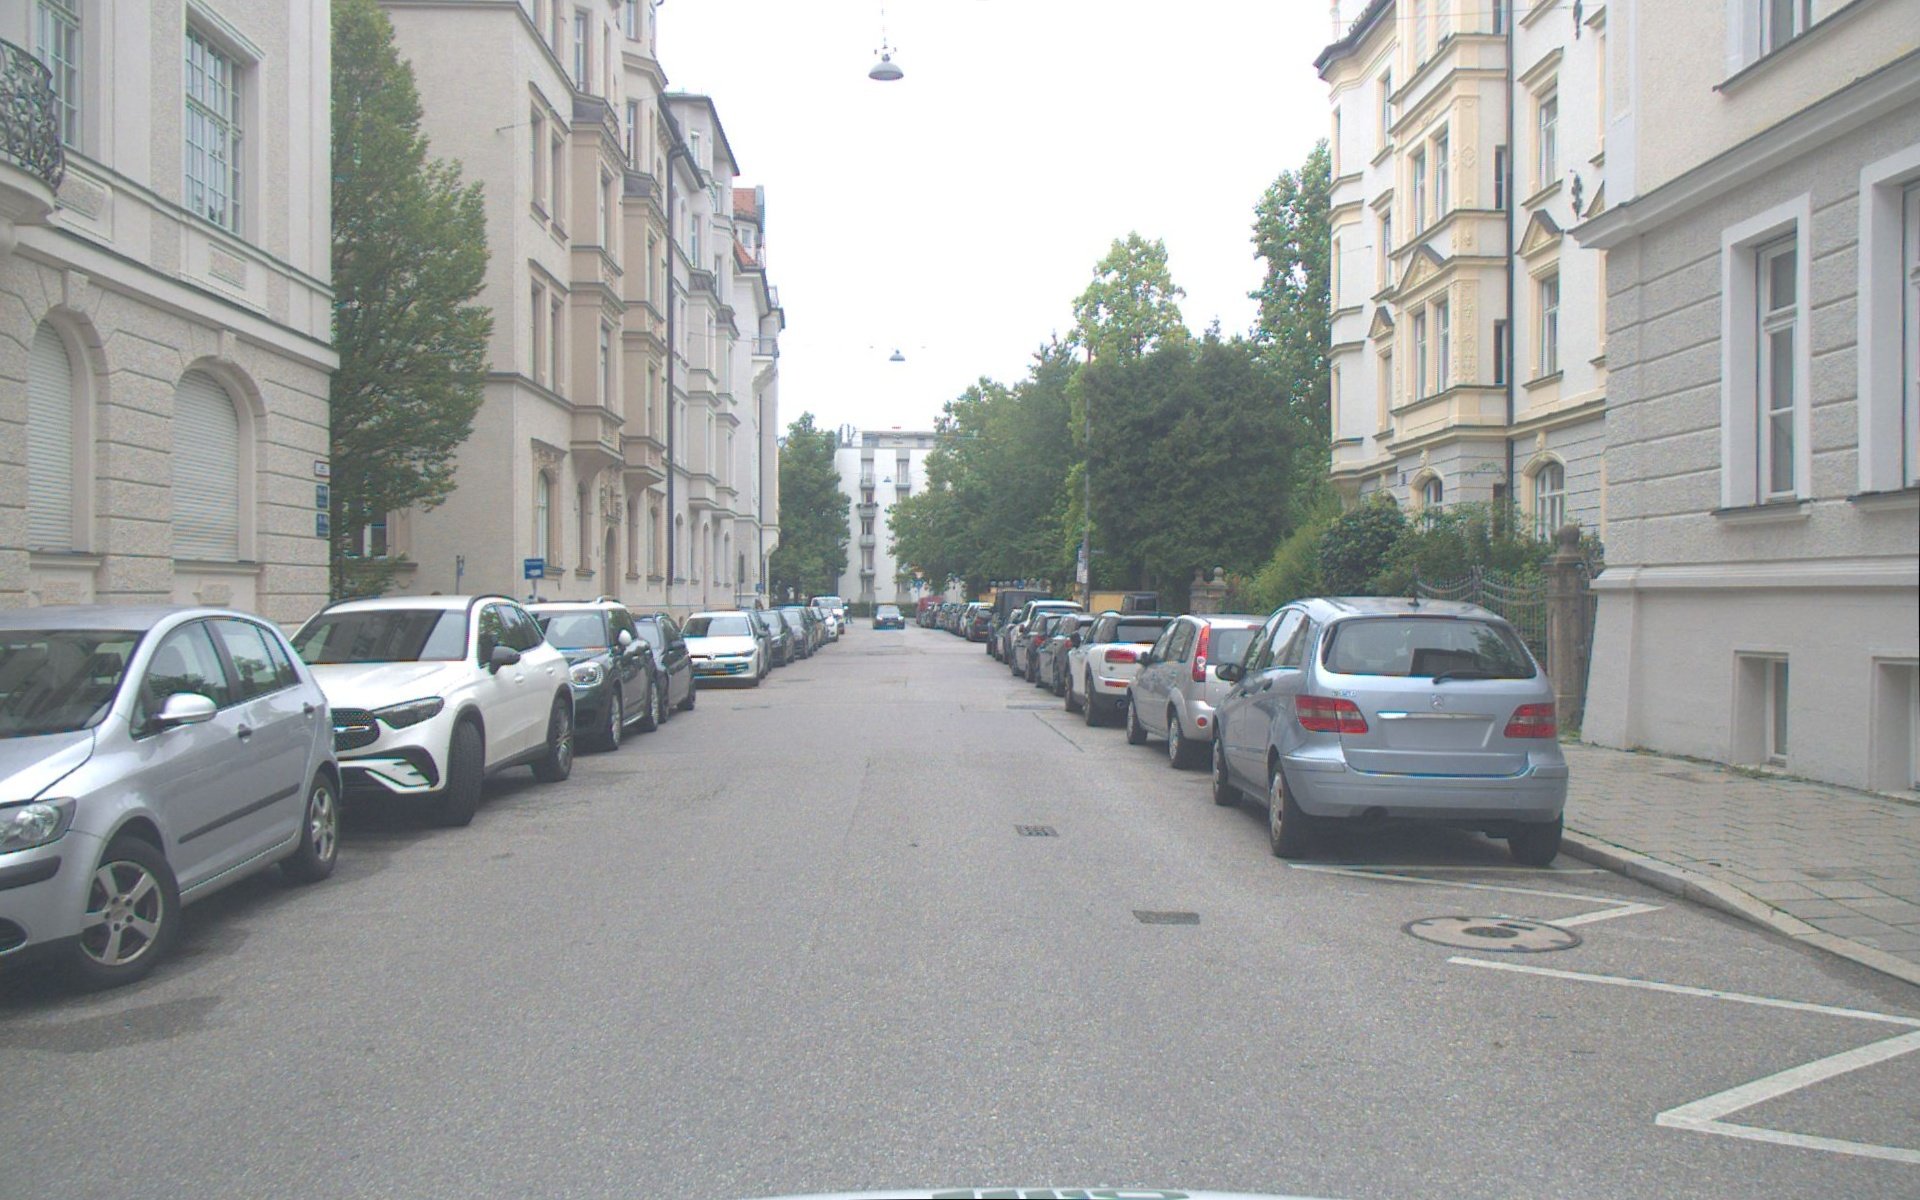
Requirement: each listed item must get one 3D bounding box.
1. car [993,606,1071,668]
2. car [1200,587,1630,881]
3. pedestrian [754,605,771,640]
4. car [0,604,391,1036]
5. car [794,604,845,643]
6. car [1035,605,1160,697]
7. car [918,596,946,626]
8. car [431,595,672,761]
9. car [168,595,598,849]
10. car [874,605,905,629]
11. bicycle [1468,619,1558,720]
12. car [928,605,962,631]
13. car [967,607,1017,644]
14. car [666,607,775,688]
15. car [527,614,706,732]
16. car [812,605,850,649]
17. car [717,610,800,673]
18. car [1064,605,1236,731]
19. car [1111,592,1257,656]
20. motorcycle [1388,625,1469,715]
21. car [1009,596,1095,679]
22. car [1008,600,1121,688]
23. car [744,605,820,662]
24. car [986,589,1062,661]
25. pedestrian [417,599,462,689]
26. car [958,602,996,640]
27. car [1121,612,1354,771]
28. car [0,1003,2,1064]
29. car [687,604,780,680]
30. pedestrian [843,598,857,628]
[{"bbox_3d":[1.900,0.979,44.547,1.689,1.545,3.628,2,-1,-3],"label":"car"},{"bbox_3d":[2.913,0.755,11.626,1.785,1.596,4.400,2,0,0],"label":"car"},{"bbox_3d":[-9.780,1.122,81.847,0.778,1.708,0.698,0,0,-11],"label":"pedestrian"},{"bbox_3d":[-4.269,0.846,8.117,1.748,1.568,4.253,-2,0,-5],"label":"car"},{"bbox_3d":[-5.872,0.977,69.618,1.799,1.463,4.273,-3,0,-1],"label":"car"},{"bbox_3d":[2.420,0.865,29.956,1.650,1.531,4.014,1,0,-4],"label":"car"},{"bbox_3d":[-1.966,0.761,117.797,1.799,1.960,4.005,2,0,0],"label":"car"},{"bbox_3d":[-4.464,0.773,18.701,1.799,1.647,4.243,0,0,-2],"label":"car"},{"bbox_3d":[-4.273,0.790,13.113,1.876,1.647,4.570,0,0,-1],"label":"car"},{"bbox_3d":[-4.391,1.035,102.401,1.837,1.453,4.405,0,0,-4],"label":"car"},{"bbox_3d":[6.664,0.811,20.003,0.425,1.145,1.881,0,0,-1],"label":"bicycle"},{"bbox_3d":[-0.989,1.156,106.066,1.803,1.545,3.943,1,-1,-5],"label":"car"},{"bbox_3d":[1.278,1.024,67.328,1.801,1.438,4.340,1,-1,-2],"label":"car"},{"bbox_3d":[-4.845,0.921,33.957,1.800,1.459,4.242,-2,0,-3],"label":"car"},{"bbox_3d":[-4.720,0.952,23.284,1.751,1.437,4.365,0,0,-2],"label":"car"},{"bbox_3d":[-6.862,1.406,88.253,1.849,2.164,4.703,-3,0,-4],"label":"car"},{"bbox_3d":[-5.234,1.055,43.423,1.797,1.459,4.551,-2,0,-3],"label":"car"},{"bbox_3d":[2.478,0.850,22.446,1.748,1.531,4.063,1,0,-2],"label":"car"},{"bbox_3d":[7.384,0.763,54.647,4.444,1.984,1.900,-1,1,-8],"label":"car"},{"bbox_3d":[6.315,0.916,22.380,0.594,1.132,1.965,0,0,2],"label":"motorcycle"},{"bbox_3d":[2.150,0.879,39.753,1.688,1.800,4.412,2,-1,-1],"label":"car"},{"bbox_3d":[2.126,0.869,34.762,1.716,1.639,4.419,2,0,-5],"label":"car"},{"bbox_3d":[-5.220,0.956,48.864,1.799,1.461,4.243,-3,0,-1],"label":"car"},{"bbox_3d":[1.862,0.697,49.524,1.911,1.988,4.664,1,1,-2],"label":"car"},{"bbox_3d":[-9.692,0.817,30.806,0.660,1.654,0.630,0,0,-5],"label":"pedestrian"},{"bbox_3d":[0.783,0.970,77.417,1.484,1.690,3.671,1,-1,-4],"label":"car"},{"bbox_3d":[2.740,0.859,17.030,1.719,1.431,3.450,1,0,-2],"label":"car"},{"bbox_3d":[-4.083,0.876,3.427,1.756,1.440,4.277,-3,0,-2],"label":"car"},{"bbox_3d":[-5.220,0.929,38.591,1.735,1.544,4.382,-3,0,-4],"label":"car"},{"bbox_3d":[-8.351,0.992,125.690,0.829,2.325,0.838,0,-1,-18],"label":"pedestrian"}]
